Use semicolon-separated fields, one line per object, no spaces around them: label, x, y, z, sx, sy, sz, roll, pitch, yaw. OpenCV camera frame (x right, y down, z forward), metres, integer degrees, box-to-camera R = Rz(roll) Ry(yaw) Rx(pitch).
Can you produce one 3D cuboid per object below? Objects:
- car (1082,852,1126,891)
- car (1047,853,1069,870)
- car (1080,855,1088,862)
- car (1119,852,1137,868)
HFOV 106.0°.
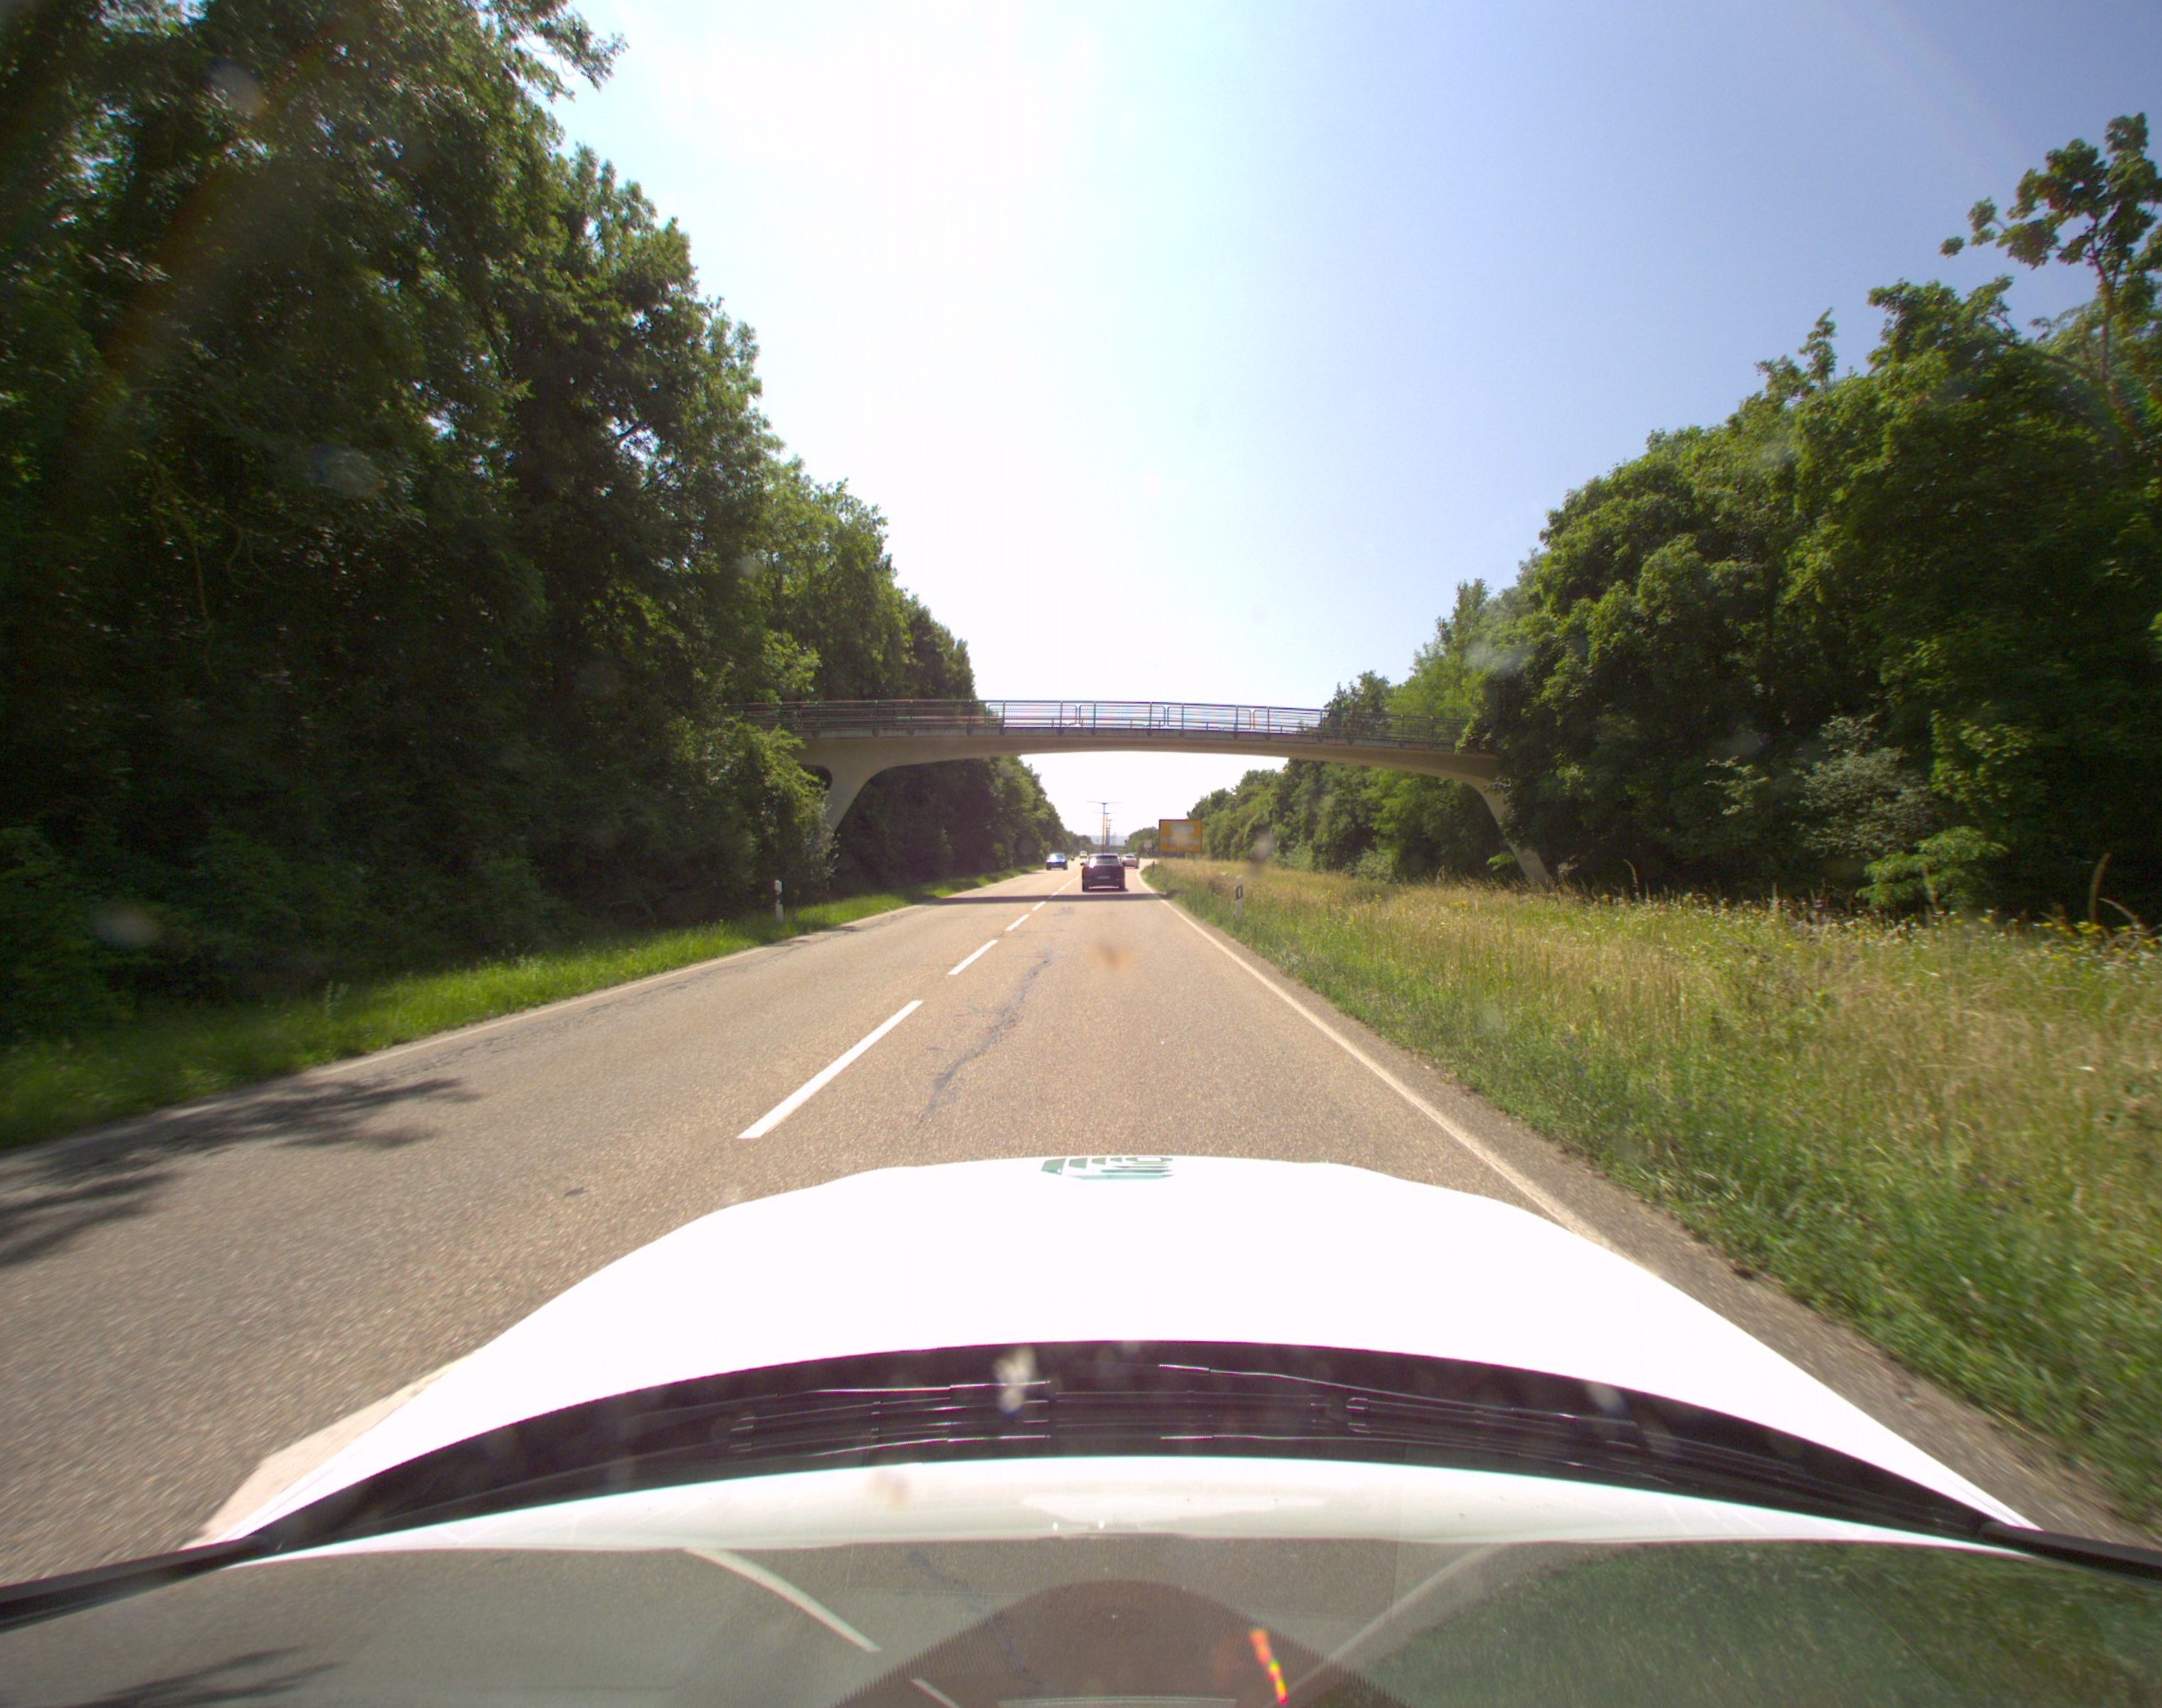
car;0.993;0.700;34.294;1.748;1.556;4.002;0;0;2
car;-2.271;0.707;80.025;1.816;1.590;4.421;-2;0;2
car;0.675;1.140;198.803;1.725;1.687;4.096;-2;0;1
car;4.938;0.650;85.184;1.789;1.583;4.004;-1;0;3
